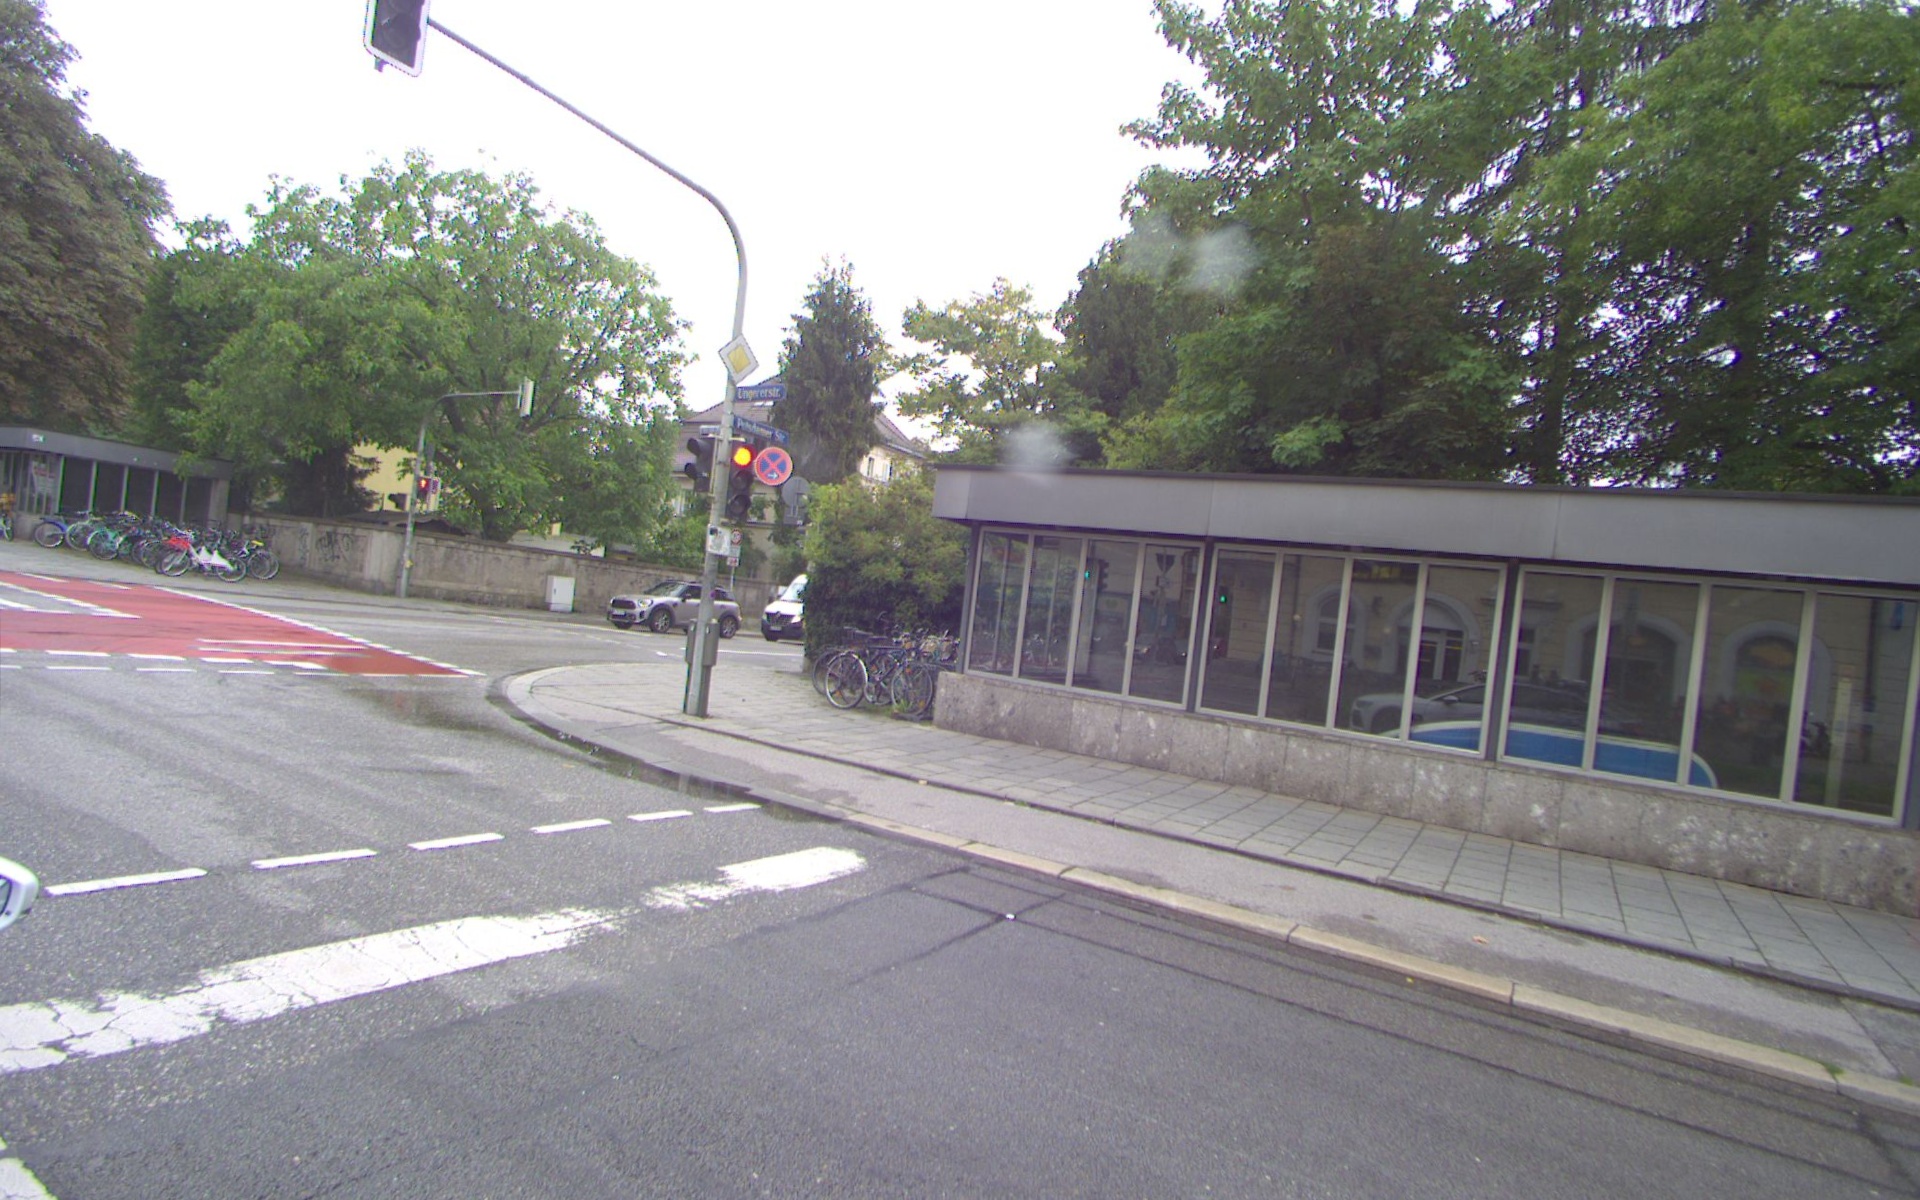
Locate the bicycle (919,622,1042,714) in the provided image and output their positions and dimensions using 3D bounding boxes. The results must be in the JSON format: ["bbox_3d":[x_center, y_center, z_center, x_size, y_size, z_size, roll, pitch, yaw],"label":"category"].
[{"bbox_3d":[0.292,0.987,14.869,1.707,1.135,0.469,6,0,32],"label":"bicycle"}]

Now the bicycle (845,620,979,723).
[{"bbox_3d":[-0.654,0.921,13.308,1.707,1.135,0.469,6,0,32],"label":"bicycle"}]

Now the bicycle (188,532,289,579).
[{"bbox_3d":[-20.207,-1.238,28.200,0.625,1.026,2.141,7,0,39],"label":"bicycle"}]

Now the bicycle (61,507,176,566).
[{"bbox_3d":[-21.729,-1.616,26.014,0.594,1.192,2.141,7,0,39],"label":"bicycle"}]

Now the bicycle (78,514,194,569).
[{"bbox_3d":[-21.053,-1.486,25.747,0.594,1.099,2.141,7,0,39],"label":"bicycle"}]

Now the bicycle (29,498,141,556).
[{"bbox_3d":[-23.631,-1.949,27.199,0.594,1.233,2.141,7,0,39],"label":"bicycle"}]

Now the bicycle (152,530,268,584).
[{"bbox_3d":[-18.379,-1.033,24.705,0.625,1.026,2.141,7,0,39],"label":"bicycle"}]

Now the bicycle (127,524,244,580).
[{"bbox_3d":[-19.158,-1.178,24.929,0.594,1.084,2.141,7,0,39],"label":"bicycle"}]

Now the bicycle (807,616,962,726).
[{"bbox_3d":[-0.977,0.875,12.738,1.858,1.135,0.600,6,0,32],"label":"bicycle"}]

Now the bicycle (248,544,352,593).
[{"bbox_3d":[-17.509,-0.825,26.736,0.625,1.026,2.141,7,0,39],"label":"bicycle"}]

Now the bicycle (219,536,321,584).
[{"bbox_3d":[-18.823,-1.074,27.502,0.625,1.026,2.141,7,0,39],"label":"bicycle"}]

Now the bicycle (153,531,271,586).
[{"bbox_3d":[-17.964,-0.976,24.213,0.594,1.026,2.141,7,0,39],"label":"bicycle"}]

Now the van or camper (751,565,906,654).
[{"bbox_3d":[-4.466,0.401,35.188,2.033,2.499,5.558,7,-1,33],"label":"van or camper"}]

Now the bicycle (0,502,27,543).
[{"bbox_3d":[-26.336,-2.174,27.504,1.981,1.027,0.557,7,0,30],"label":"bicycle"}]

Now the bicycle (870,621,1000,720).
[{"bbox_3d":[-0.357,0.953,13.806,1.707,1.135,0.469,6,0,32],"label":"bicycle"}]

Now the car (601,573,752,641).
[{"bbox_3d":[-8.326,0.255,29.891,1.667,1.532,4.173,7,-1,32],"label":"car"}]

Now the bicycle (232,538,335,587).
[{"bbox_3d":[-18.187,-1.005,27.102,0.625,1.026,2.141,7,0,39],"label":"bicycle"}]

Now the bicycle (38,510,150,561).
[{"bbox_3d":[-23.055,-1.700,26.830,0.594,1.026,2.141,7,0,39],"label":"bicycle"}]

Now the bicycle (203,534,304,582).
[{"bbox_3d":[-19.526,-1.159,27.842,0.625,1.026,2.141,7,0,39],"label":"bicycle"}]

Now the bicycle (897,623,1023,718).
[{"bbox_3d":[-0.019,0.985,14.355,1.707,1.135,0.469,6,0,32],"label":"bicycle"}]

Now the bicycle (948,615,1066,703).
[{"bbox_3d":[0.709,0.897,15.515,1.707,1.135,0.469,6,0,32],"label":"bicycle"}]

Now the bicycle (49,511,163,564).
[{"bbox_3d":[-22.335,-1.626,26.351,0.594,1.075,2.141,7,0,39],"label":"bicycle"}]

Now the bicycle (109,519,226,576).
[{"bbox_3d":[-19.768,-1.301,25.148,0.594,1.114,2.141,7,0,39],"label":"bicycle"}]

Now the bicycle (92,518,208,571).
[{"bbox_3d":[-20.430,-1.375,25.406,0.594,1.026,2.141,7,0,39],"label":"bicycle"}]
